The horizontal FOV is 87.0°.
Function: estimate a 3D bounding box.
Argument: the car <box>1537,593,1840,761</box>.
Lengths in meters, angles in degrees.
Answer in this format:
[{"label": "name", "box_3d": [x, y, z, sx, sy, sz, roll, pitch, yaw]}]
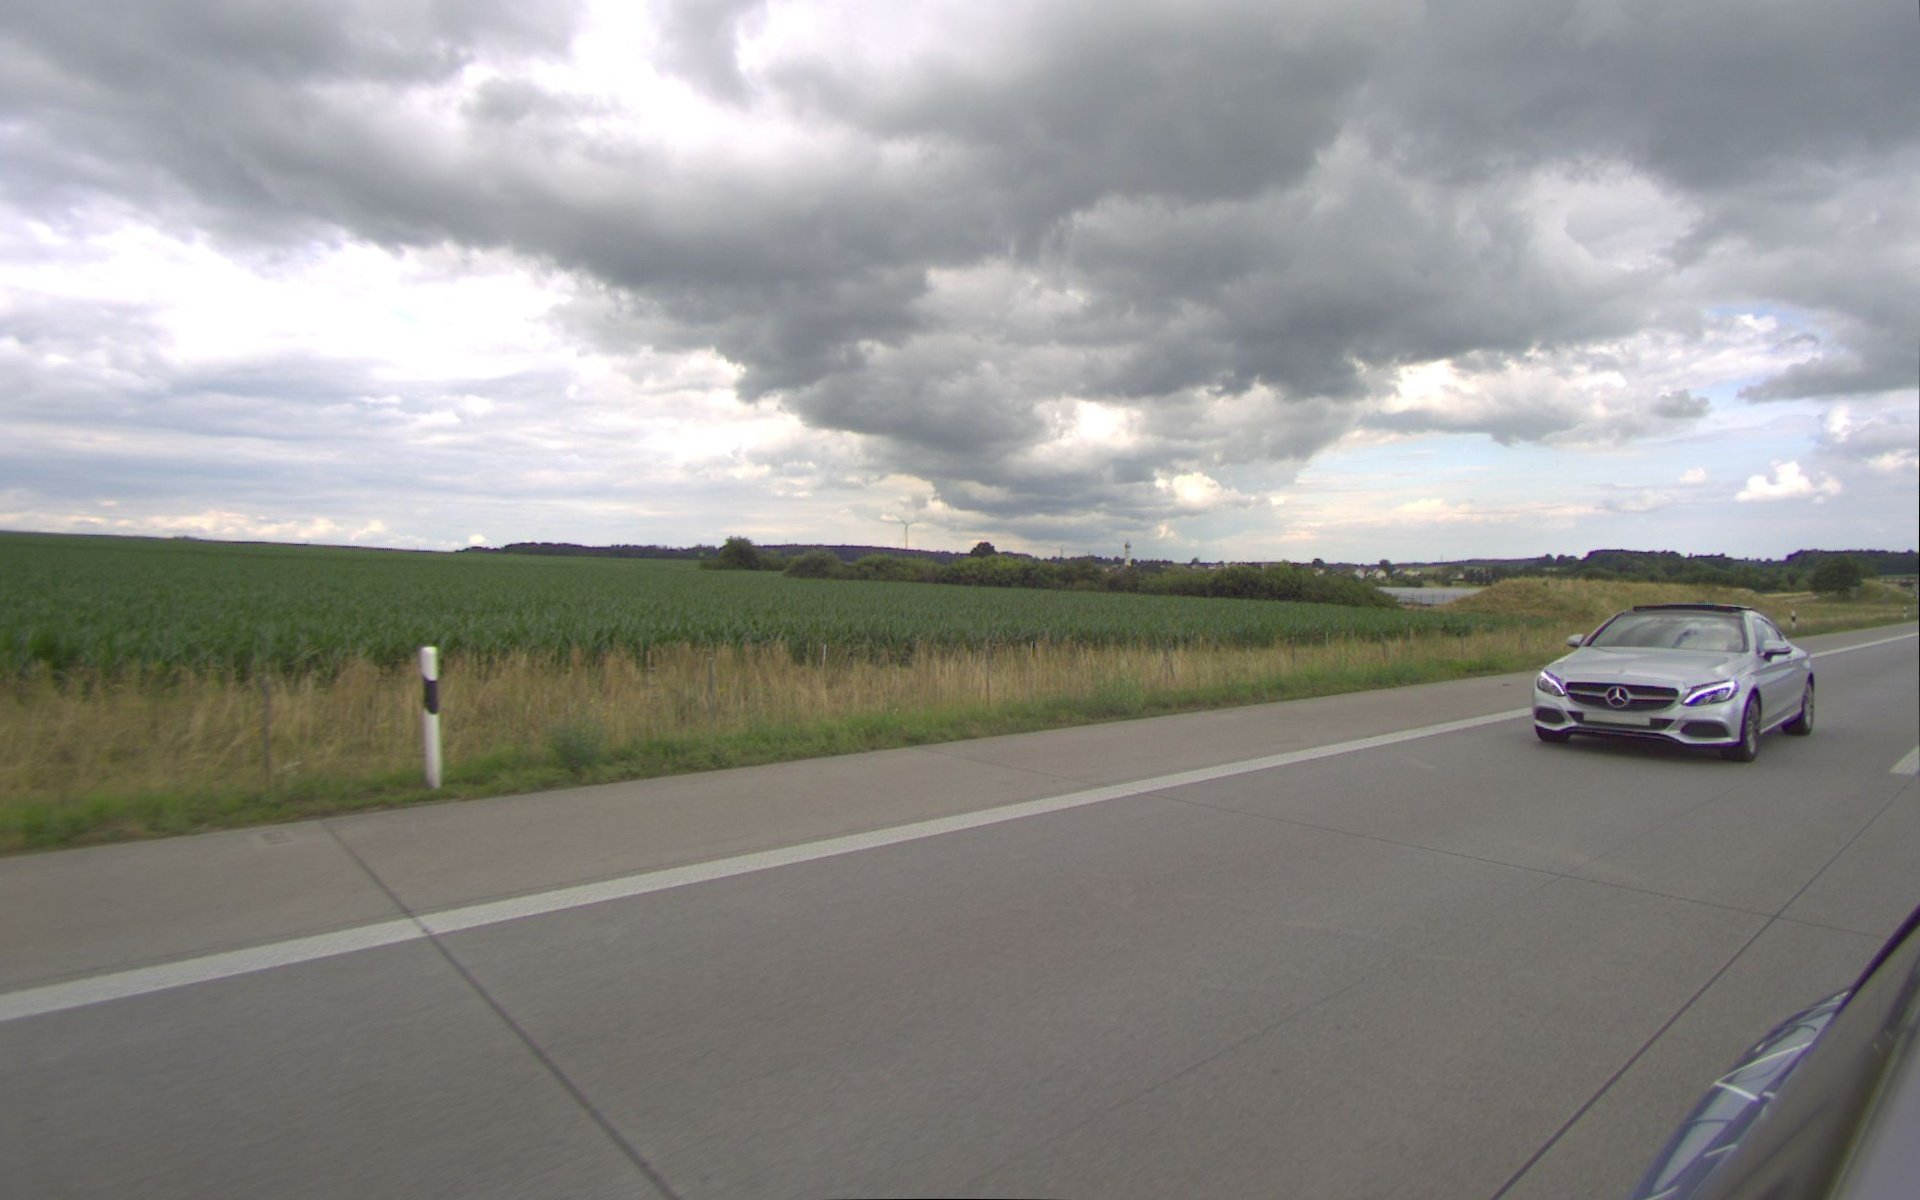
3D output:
[{"label": "car", "box_3d": [7.913, 0.652, 10.851, 4.148, 1.421, 1.791, -1, 1, -42]}]
